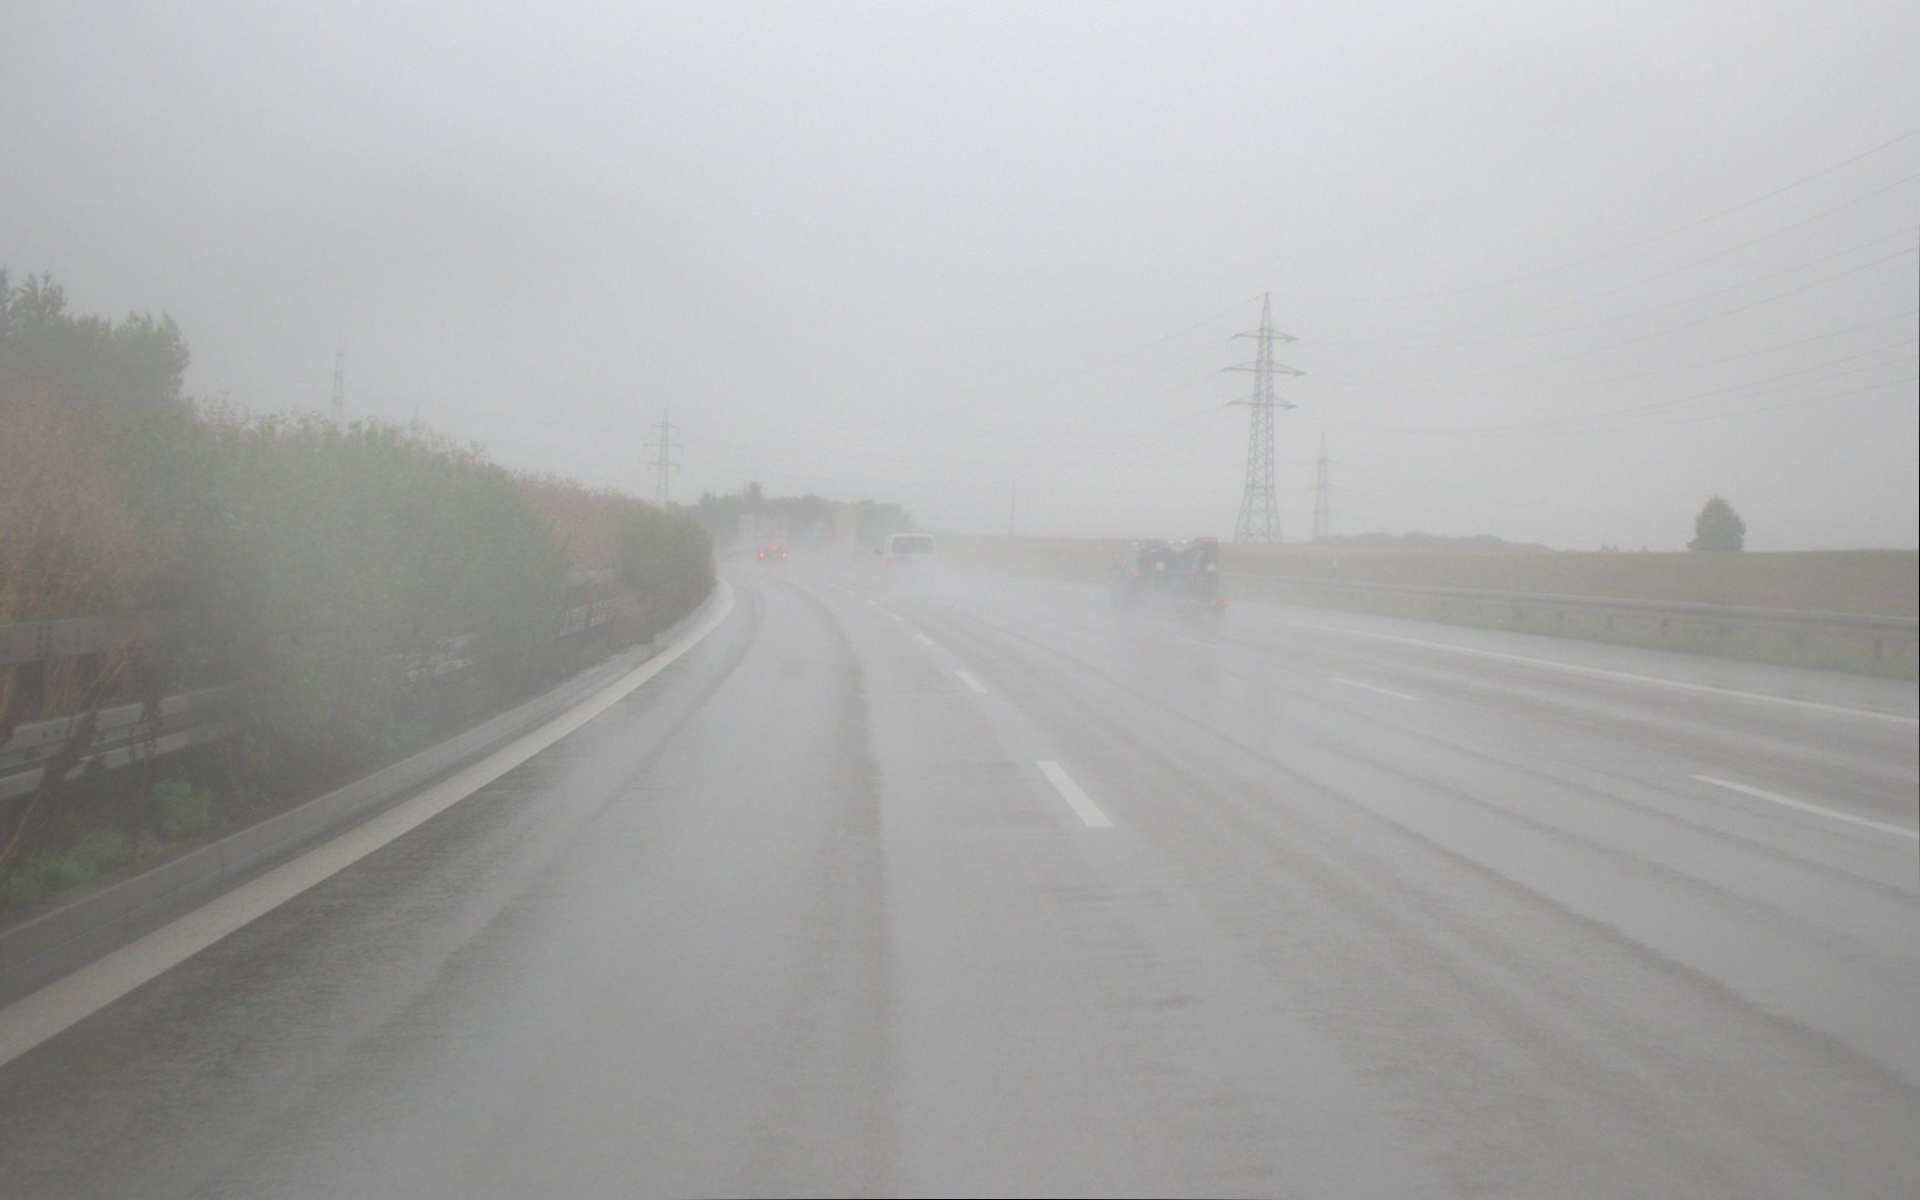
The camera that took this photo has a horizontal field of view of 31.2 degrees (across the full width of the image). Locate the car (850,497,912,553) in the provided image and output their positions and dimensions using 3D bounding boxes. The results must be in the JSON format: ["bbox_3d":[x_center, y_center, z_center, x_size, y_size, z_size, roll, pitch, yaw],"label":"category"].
[{"bbox_3d":[-4.638,-4.374,201.462,3.199,3.182,7.258,1,1,-4],"label":"car"}]

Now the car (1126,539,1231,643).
[{"bbox_3d":[4.701,-0.219,74.442,1.807,2.151,4.001,1,1,-3],"label":"car"}]
